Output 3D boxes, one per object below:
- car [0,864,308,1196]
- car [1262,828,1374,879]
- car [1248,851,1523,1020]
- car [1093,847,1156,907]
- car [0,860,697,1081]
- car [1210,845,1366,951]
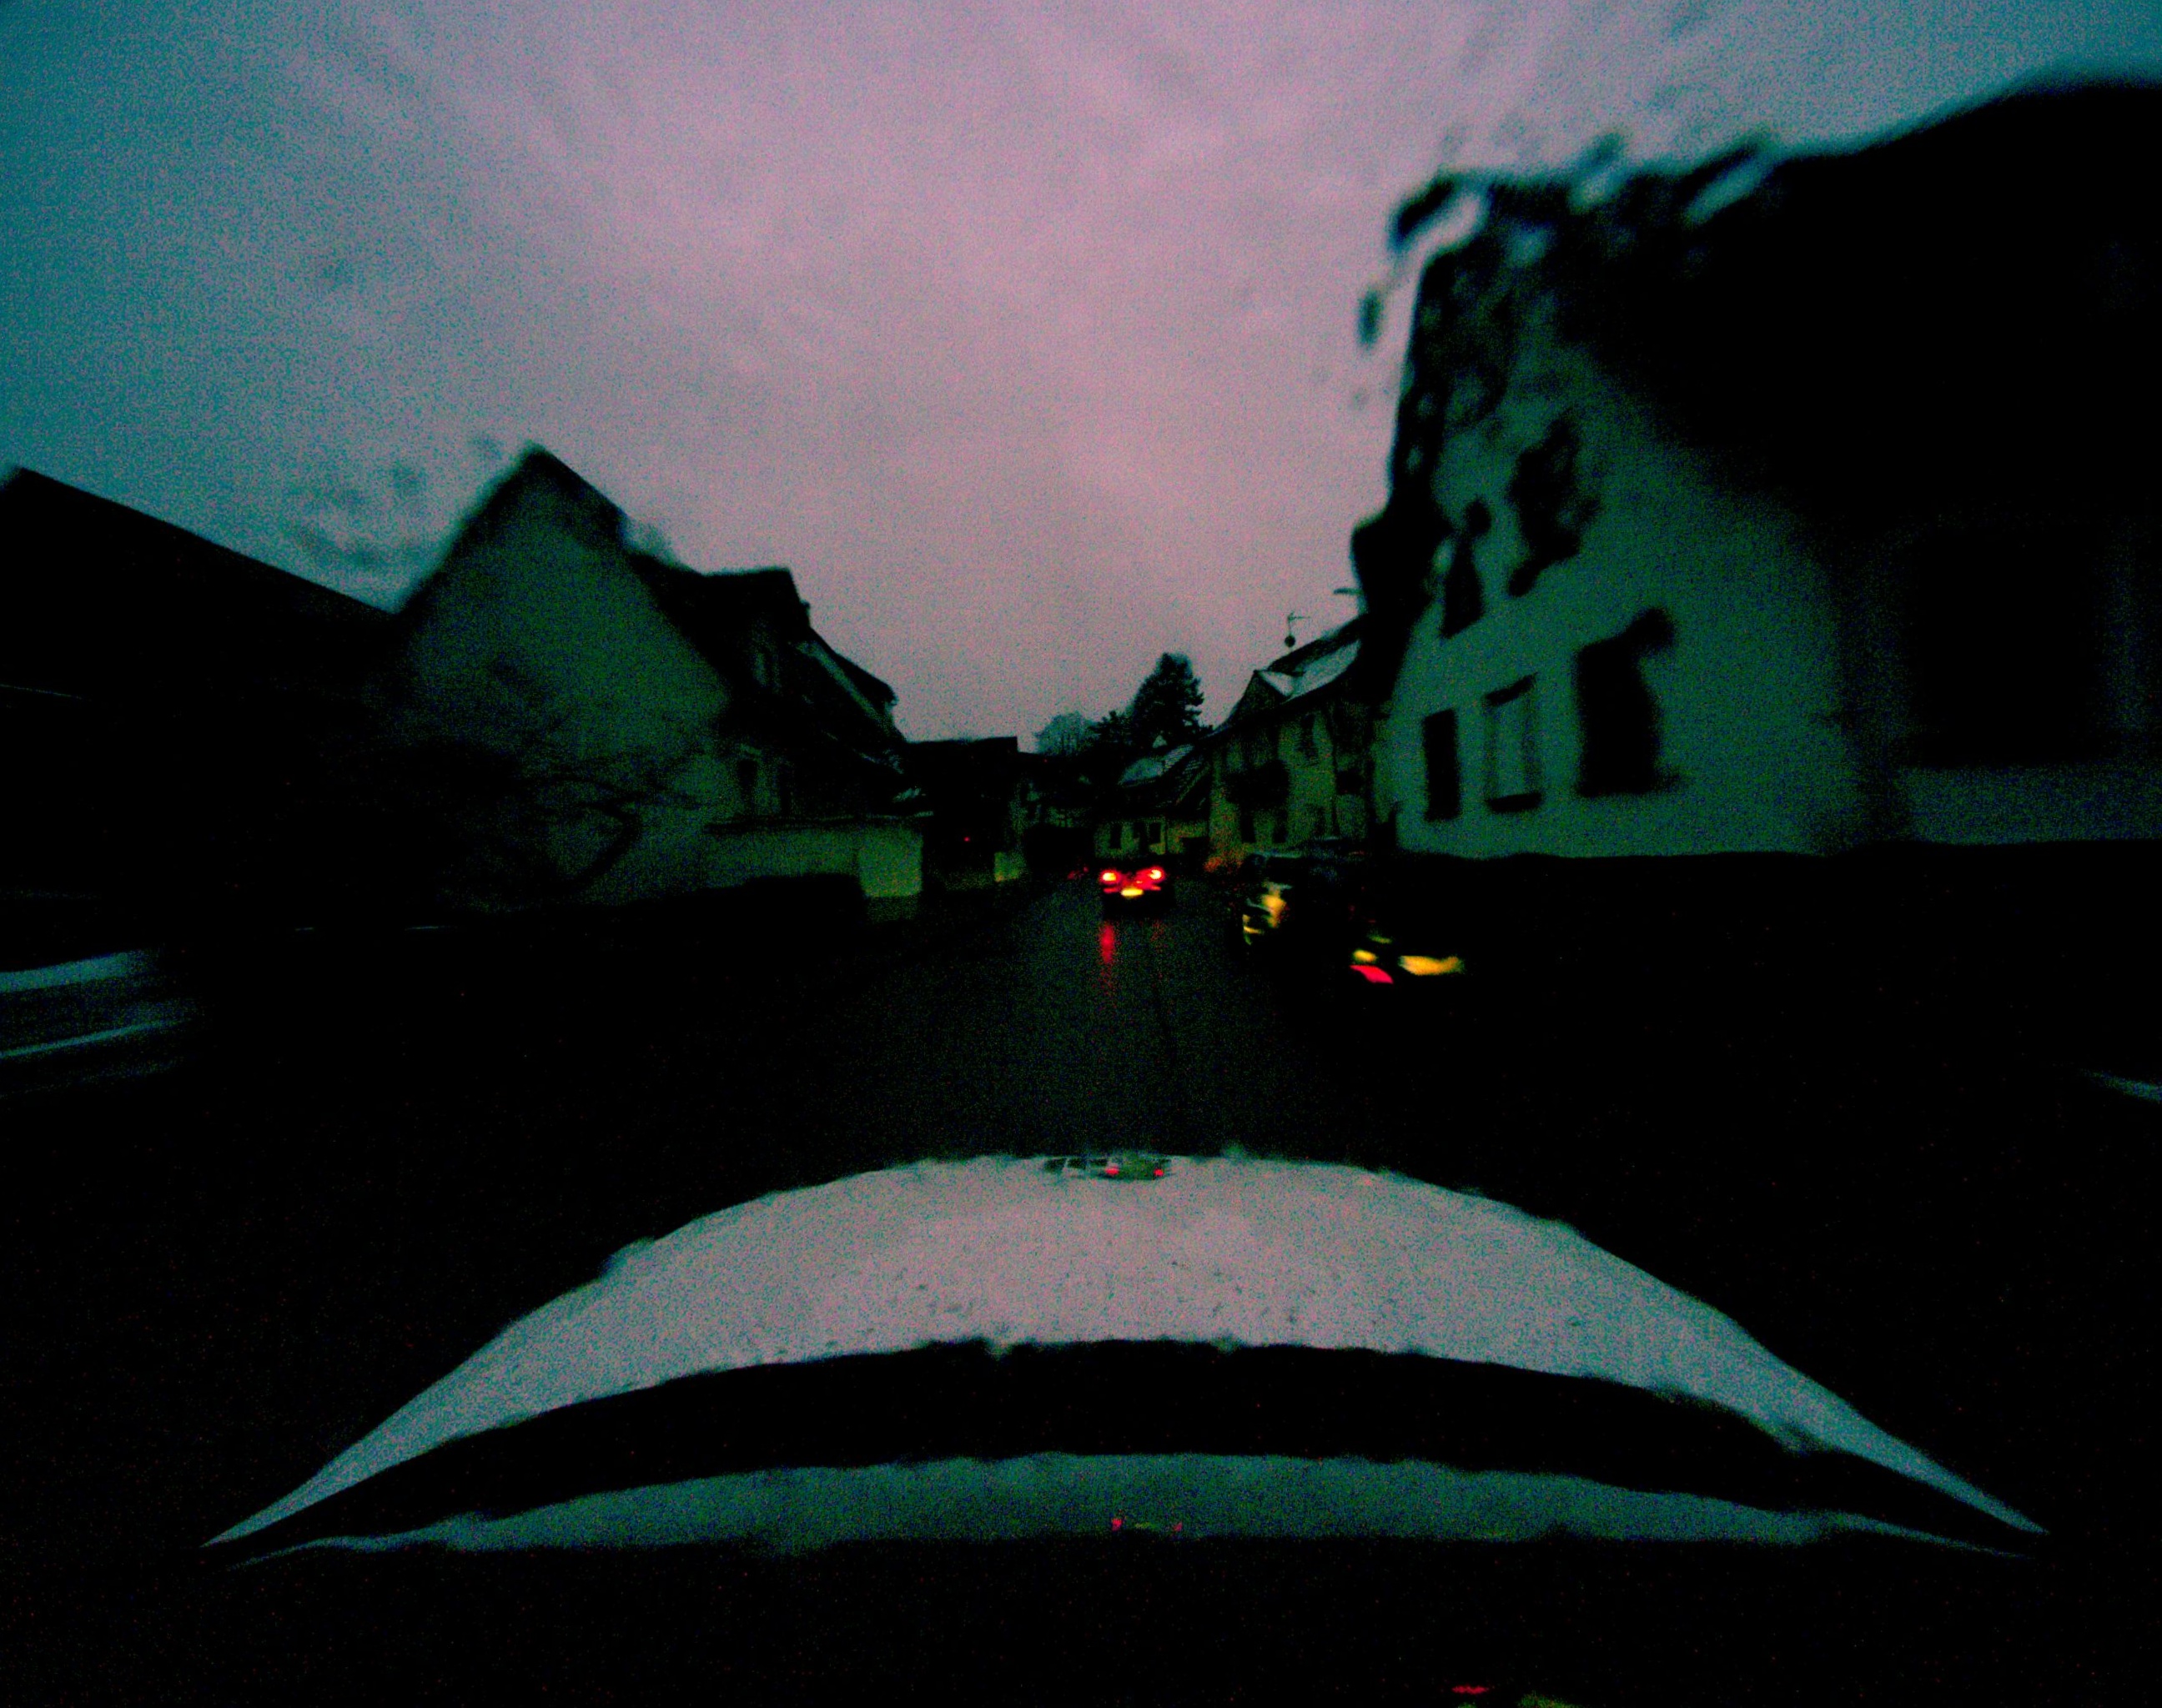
[{"bbox_3d":[-7.118,0.899,4.279,4.578,1.470,1.896,-2,0,7],"label":"car"},{"bbox_3d":[8.056,0.031,28.139,1.809,1.487,4.259,-5,-1,-12],"label":"car"},{"bbox_3d":[3.073,0.710,9.135,1.632,1.471,4.000,-1,0,1],"label":"car"},{"bbox_3d":[1.243,0.555,21.970,1.538,1.466,3.704,-1,0,5],"label":"car"},{"bbox_3d":[-6.107,0.890,7.025,4.573,1.470,2.002,-2,0,3],"label":"car"},{"bbox_3d":[3.265,0.623,13.583,1.632,1.494,4.000,-1,0,1],"label":"car"}]
